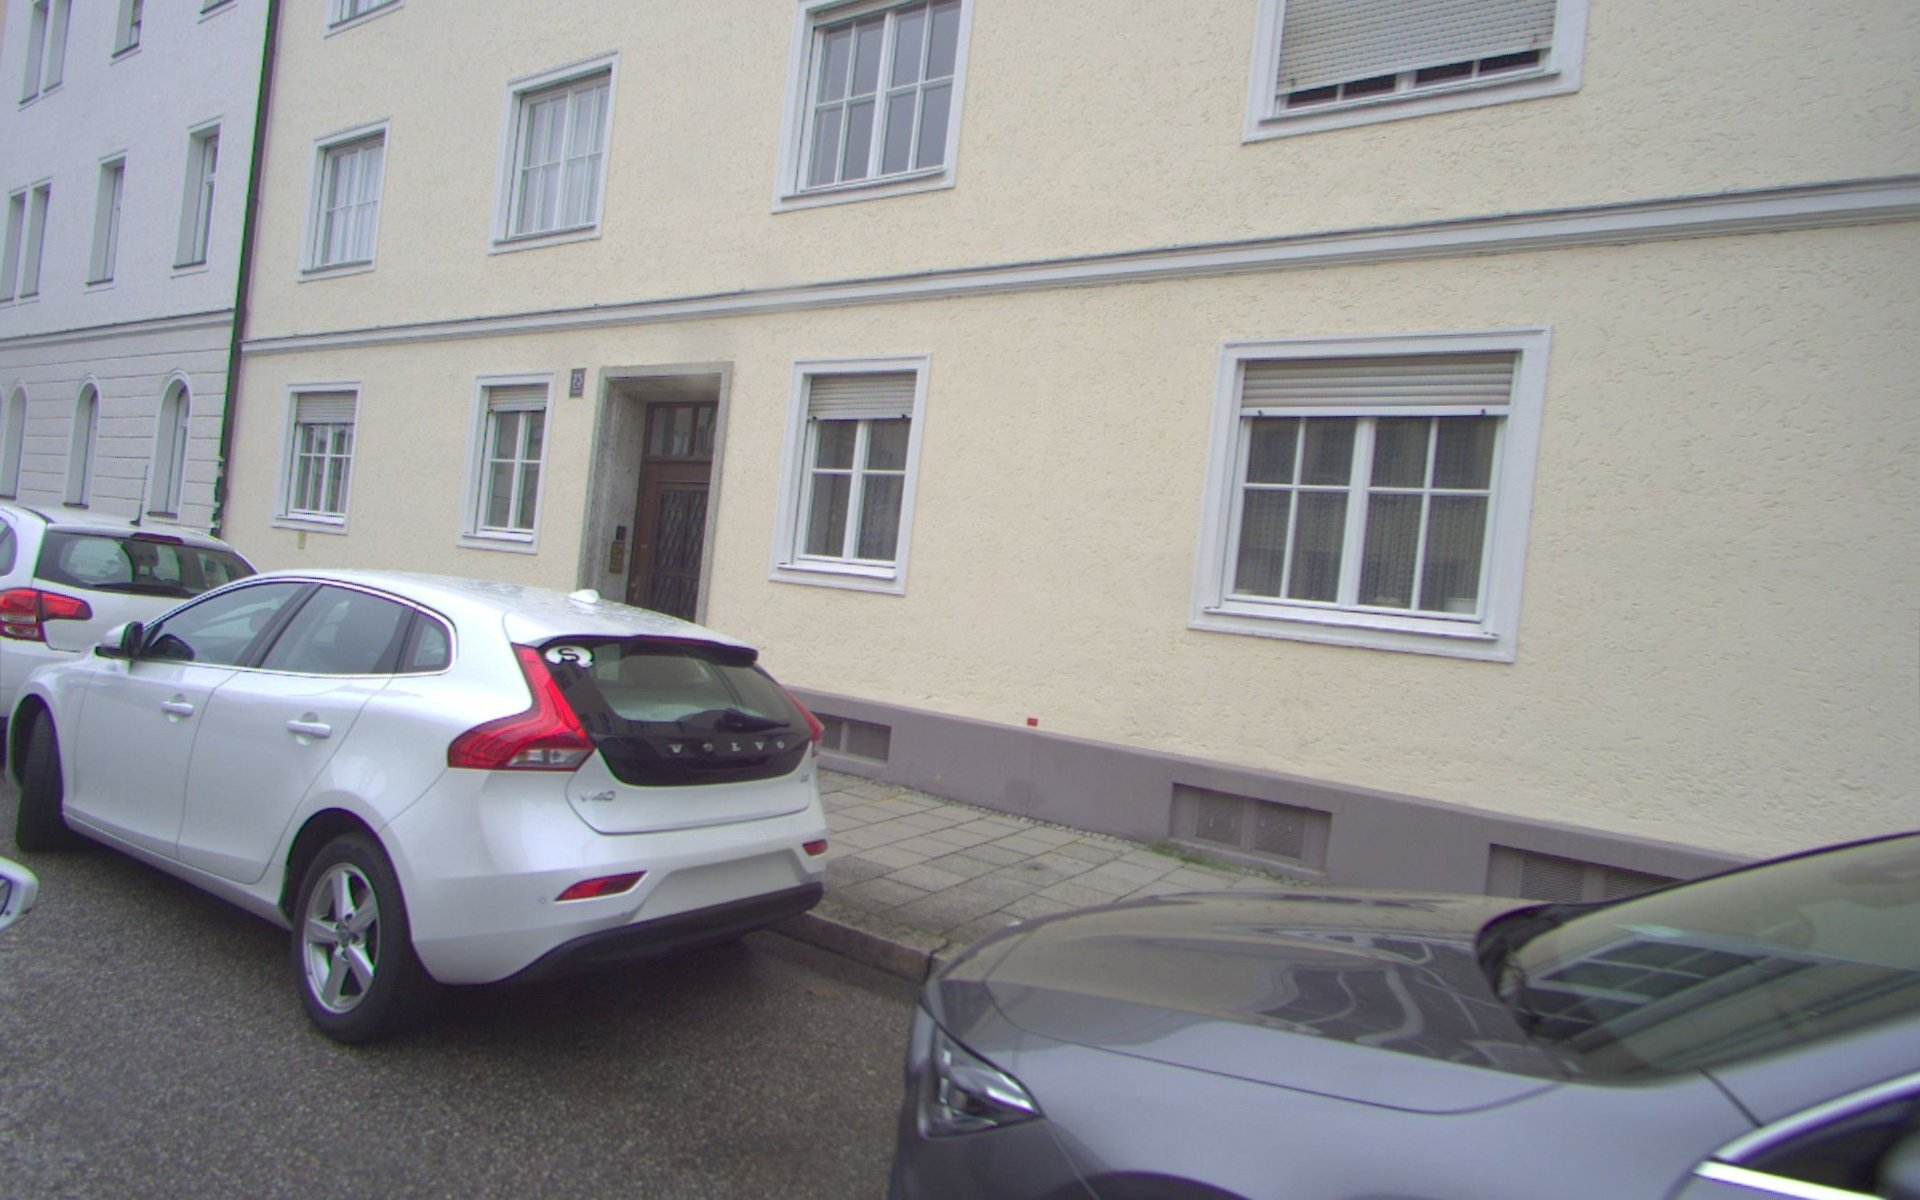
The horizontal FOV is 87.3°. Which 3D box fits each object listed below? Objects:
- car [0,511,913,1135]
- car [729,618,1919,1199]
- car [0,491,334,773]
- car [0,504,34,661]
[{"bbox_3d":[-2.549,0.539,4.441,4.368,1.427,1.682,6,-1,31],"label":"car"},{"bbox_3d":[1.881,1.013,1.494,4.348,1.427,1.682,6,-1,31],"label":"car"},{"bbox_3d":[-6.472,0.054,7.083,4.096,1.499,1.682,6,-1,30],"label":"car"},{"bbox_3d":[-10.936,-0.407,9.735,4.096,1.444,1.682,6,-1,30],"label":"car"}]
